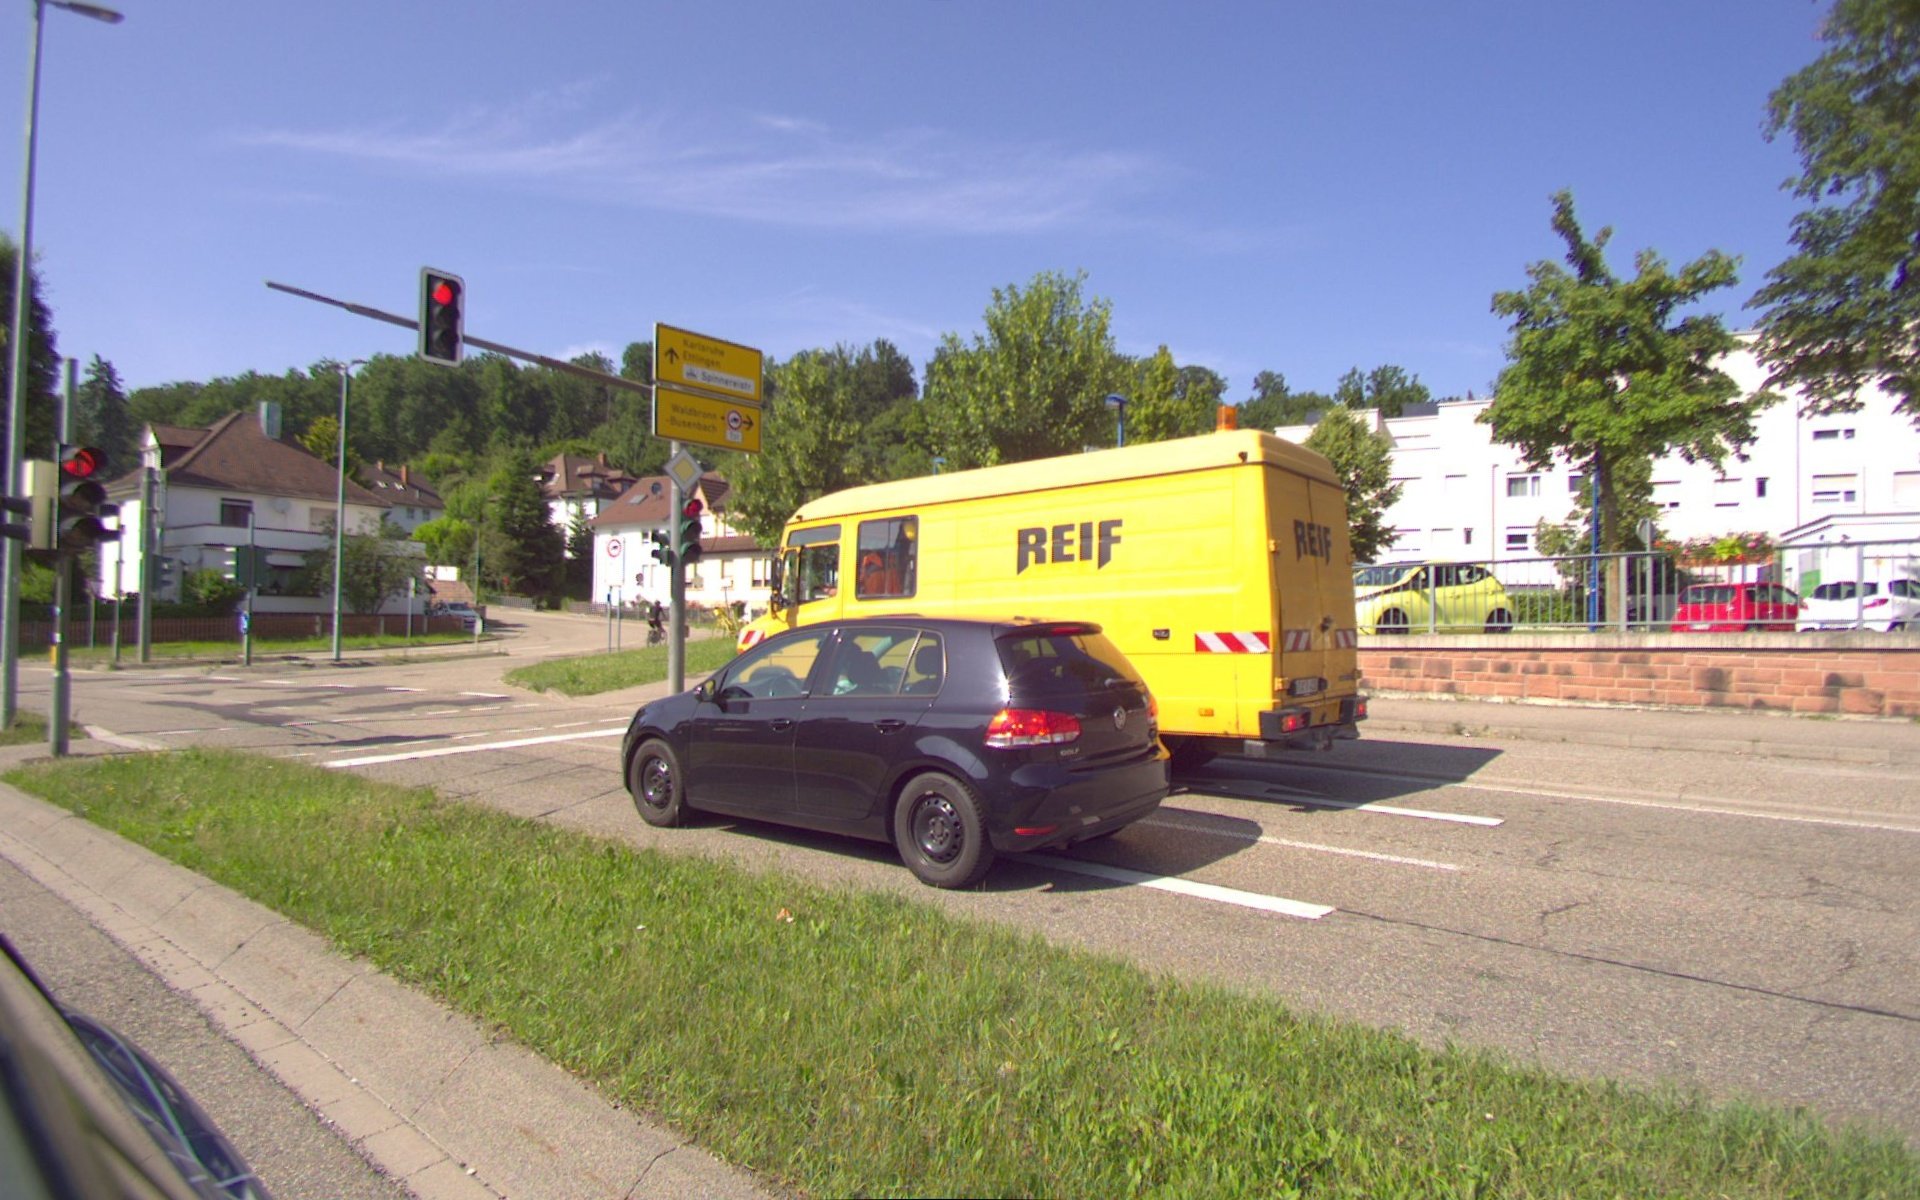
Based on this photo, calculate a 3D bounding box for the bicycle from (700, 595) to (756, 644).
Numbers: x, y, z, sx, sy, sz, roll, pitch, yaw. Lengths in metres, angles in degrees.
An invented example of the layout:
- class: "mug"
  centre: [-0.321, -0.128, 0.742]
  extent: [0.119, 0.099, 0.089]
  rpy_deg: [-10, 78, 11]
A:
- class: "bicycle"
  centre: [-6.772, 0.576, 29.478]
  extent: [1.757, 1.265, 0.612]
  rpy_deg: [-5, 0, 43]

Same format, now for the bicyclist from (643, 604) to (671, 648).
- class: "bicyclist"
  centre: [-12.086, 1.031, 40.404]
  extent: [0.795, 1.704, 0.993]
  rpy_deg: [-2, -1, -2]

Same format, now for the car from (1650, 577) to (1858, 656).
- class: "car"
  centre: [18.204, 0.363, 23.241]
  extent: [3.931, 1.571, 1.920]
  rpy_deg: [-2, -1, -20]

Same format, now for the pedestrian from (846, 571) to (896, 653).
- class: "pedestrian"
  centre: [-2.155, 0.277, 24.498]
  extent: [0.855, 1.922, 0.732]
  rpy_deg: [-1, 2, 36]

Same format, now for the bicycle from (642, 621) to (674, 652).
- class: "bicycle"
  centre: [-12.071, 1.434, 40.507]
  extent: [0.724, 1.171, 2.001]
  rpy_deg: [-2, 0, -3]

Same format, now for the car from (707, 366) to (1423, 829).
- class: "car"
  centre: [0.622, 0.017, 9.618]
  extent: [6.458, 3.033, 2.443]
  rpy_deg: [-1, 0, 39]

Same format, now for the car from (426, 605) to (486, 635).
- class: "car"
  centre: [-29.956, 1.198, 60.109]
  extent: [4.000, 1.649, 1.913]
  rpy_deg: [-3, -1, 43]

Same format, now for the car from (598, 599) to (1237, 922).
- class: "car"
  centre: [-0.465, 0.787, 6.593]
  extent: [4.039, 1.474, 1.728]
  rpy_deg: [-1, -2, 39]

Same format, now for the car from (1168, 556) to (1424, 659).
- class: "car"
  centre: [6.548, 0.109, 19.805]
  extent: [4.339, 1.709, 2.064]
  rpy_deg: [-3, 0, -20]

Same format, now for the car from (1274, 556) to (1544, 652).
- class: "car"
  centre: [7.659, 0.053, 17.337]
  extent: [3.931, 1.392, 1.920]
  rpy_deg: [-2, -1, -20]

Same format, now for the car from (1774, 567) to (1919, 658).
- class: "car"
  centre: [19.195, 0.209, 20.990]
  extent: [3.931, 1.714, 1.920]
  rpy_deg: [-2, -1, -23]

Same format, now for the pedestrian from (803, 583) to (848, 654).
- class: "pedestrian"
  centre: [-3.260, 0.451, 24.593]
  extent: [0.740, 1.690, 0.704]
  rpy_deg: [-3, -1, 37]

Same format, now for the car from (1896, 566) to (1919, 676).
- class: "car"
  centre: [17.176, 0.316, 15.280]
  extent: [1.889, 1.803, 4.013]
  rpy_deg: [0, -1, -20]
